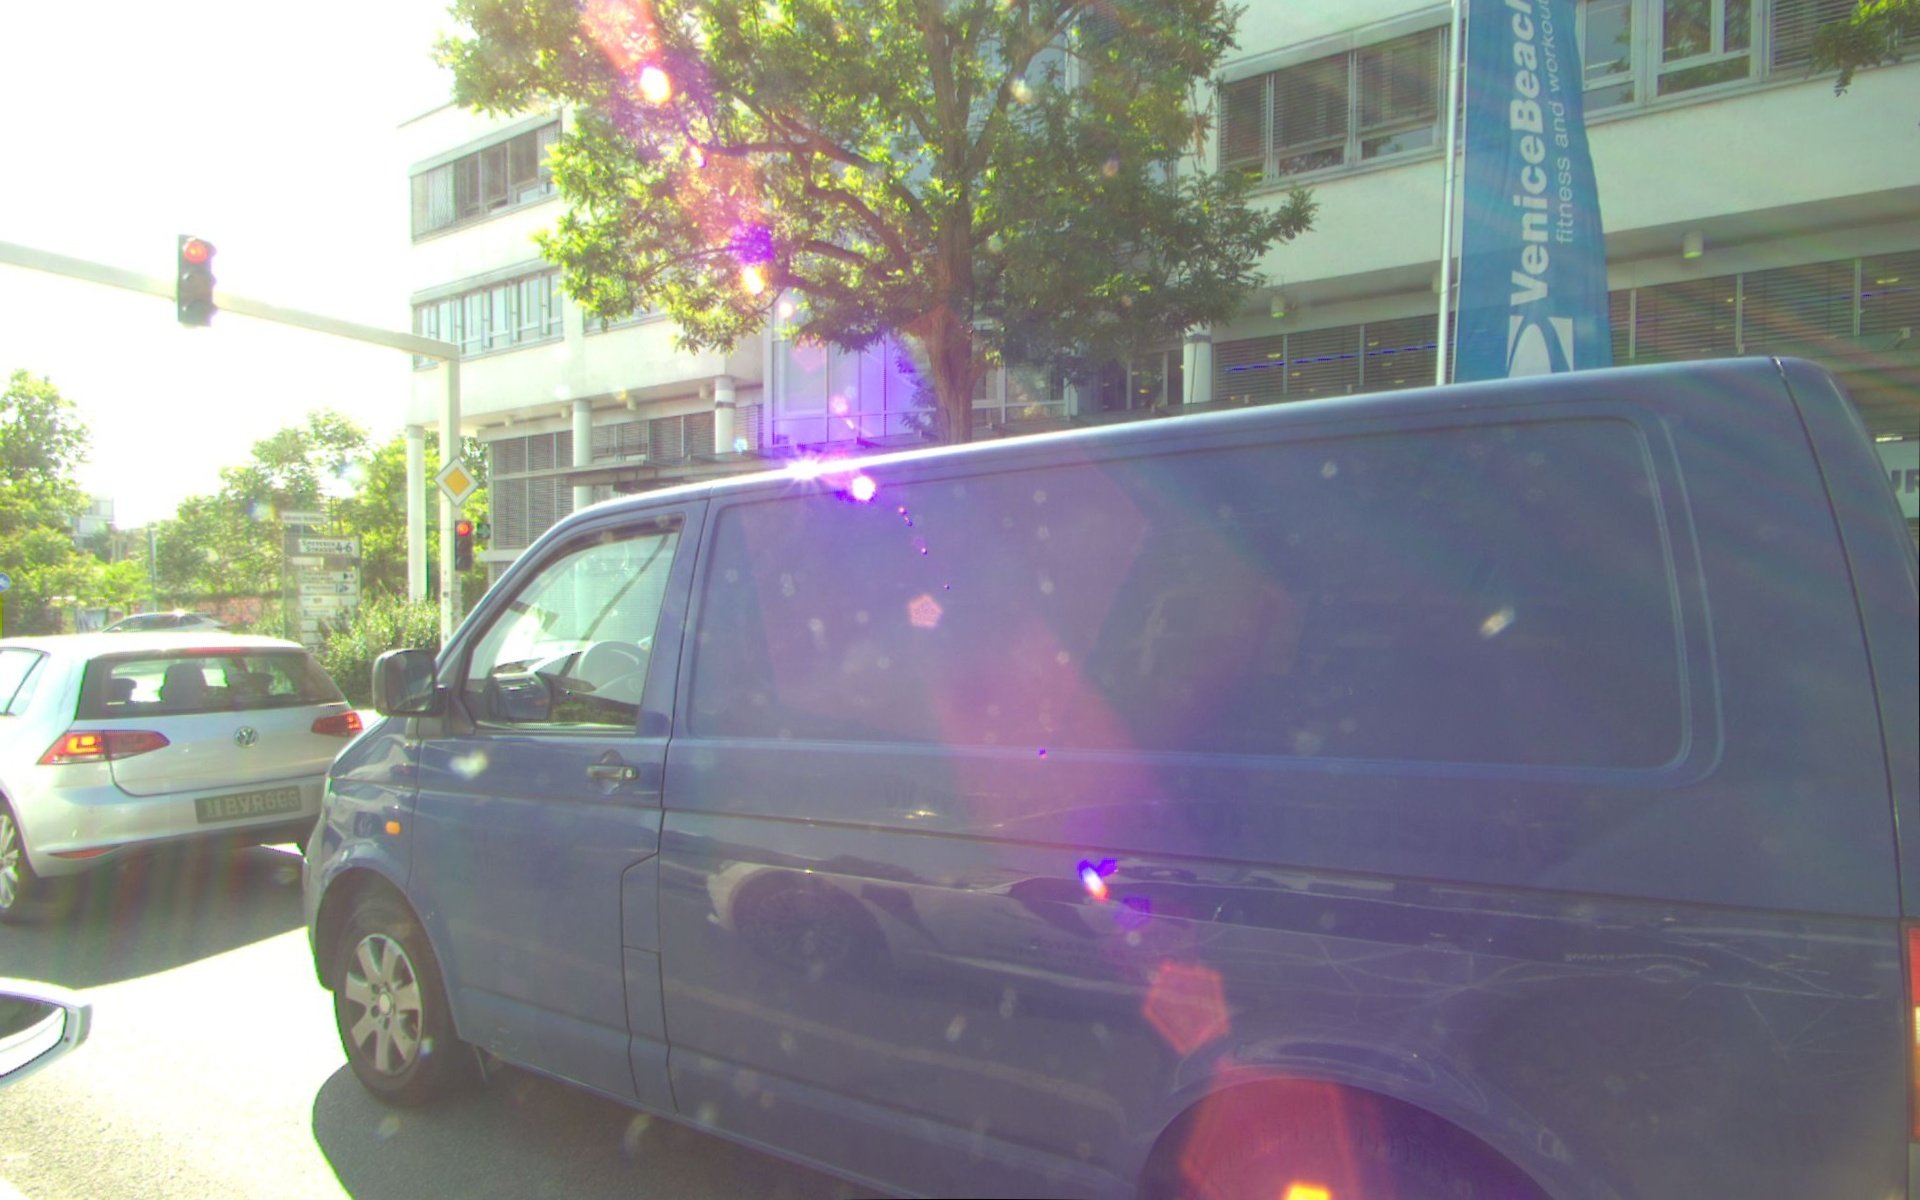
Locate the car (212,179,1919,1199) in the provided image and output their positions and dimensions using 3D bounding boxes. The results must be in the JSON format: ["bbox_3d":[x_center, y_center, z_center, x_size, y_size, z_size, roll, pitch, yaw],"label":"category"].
[{"bbox_3d":[-0.130,0.539,3.177,4.821,1.973,1.989,-1,-1,32],"label":"car"}]

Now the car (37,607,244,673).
[{"bbox_3d":[-23.841,1.093,29.250,1.978,1.572,4.392,-1,2,43],"label":"car"}]

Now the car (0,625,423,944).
[{"bbox_3d":[-5.487,0.919,6.437,3.941,1.448,1.805,-1,-1,31],"label":"car"}]

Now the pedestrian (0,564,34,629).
[{"bbox_3d":[-30.194,-0.107,31.699,1.023,2.040,1.025,0,0,32],"label":"pedestrian"}]
